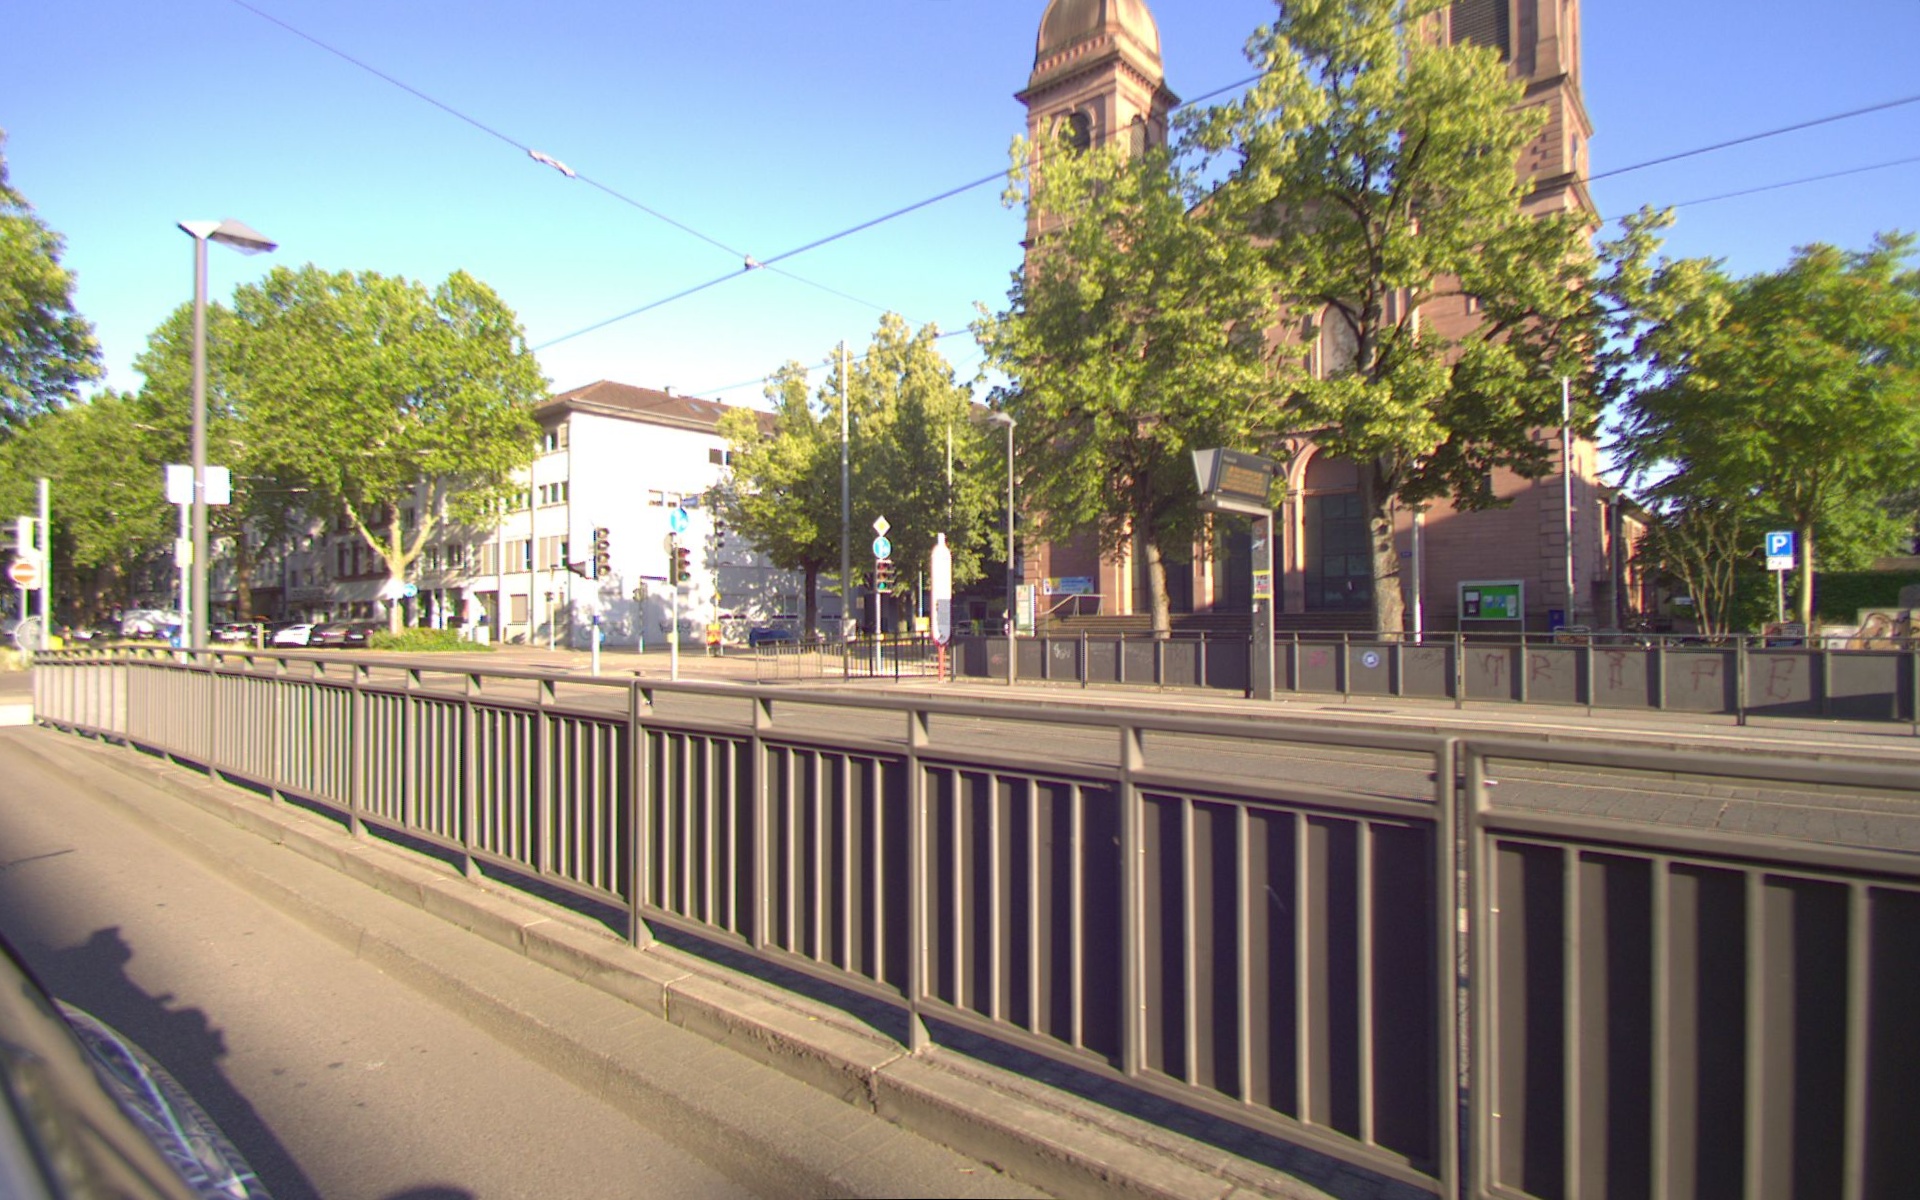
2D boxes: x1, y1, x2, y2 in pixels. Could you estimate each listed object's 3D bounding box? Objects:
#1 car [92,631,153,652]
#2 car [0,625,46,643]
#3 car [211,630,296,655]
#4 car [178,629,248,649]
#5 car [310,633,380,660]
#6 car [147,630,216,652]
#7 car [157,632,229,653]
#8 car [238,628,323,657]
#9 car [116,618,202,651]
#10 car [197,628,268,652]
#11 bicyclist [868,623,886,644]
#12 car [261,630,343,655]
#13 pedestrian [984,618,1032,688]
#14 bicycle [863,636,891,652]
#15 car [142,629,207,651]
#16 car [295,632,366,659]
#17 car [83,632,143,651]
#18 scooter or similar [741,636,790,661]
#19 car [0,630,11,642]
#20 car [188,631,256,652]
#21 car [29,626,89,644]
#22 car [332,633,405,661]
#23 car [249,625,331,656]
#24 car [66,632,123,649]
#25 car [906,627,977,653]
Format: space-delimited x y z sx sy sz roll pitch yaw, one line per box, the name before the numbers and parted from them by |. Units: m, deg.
car | -77.764 3.849 94.057 1.980 1.830 3.982 -1 -2 13
car | -123.578 4.464 133.268 2.071 2.230 4.943 0 -2 -2
car | -45.578 2.733 65.382 1.634 1.569 4.221 -1 -2 25
car | -55.715 2.876 75.586 1.883 1.468 4.251 0 -2 5
car | -34.604 2.595 57.059 1.717 1.443 3.972 -2 -2 -2
car | -61.525 3.222 80.039 1.980 1.630 3.982 -1 -2 13
car | -59.100 3.253 78.063 1.985 1.530 3.973 -1 -2 20
car | -41.775 2.583 62.303 2.126 1.697 4.250 0 -2 6
car | -68.298 2.915 86.415 2.161 2.721 5.583 -1 -2 16
car | -50.922 2.768 70.933 1.881 1.626 4.257 0 -2 0
bicyclist | -5.356 2.188 65.474 0.632 1.341 0.956 -2 -2 41
car | -39.071 2.514 60.241 2.123 1.388 4.257 0 -2 0
pedestrian | 1.275 1.382 26.858 0.832 1.773 0.909 -2 0 42
bicycle | -5.366 2.854 65.435 0.632 0.988 1.962 -2 -2 41
car | -65.948 3.327 85.062 1.980 1.830 3.982 -1 -2 13
car | -36.733 2.656 59.207 1.805 1.516 3.972 0 -2 -2
car | -80.355 3.926 96.056 1.980 1.830 3.982 -1 -2 13
scooter or similar | -9.646 2.394 50.172 2.447 1.135 1.082 -5 -4 41
car | -141.831 5.274 148.302 3.937 1.827 1.876 1 -2 -40
car | -53.381 3.014 73.266 1.582 1.470 4.251 0 -2 4
car | -90.269 3.497 101.426 1.996 1.719 4.184 -2 -2 36
car | -31.947 2.518 54.804 1.747 1.443 3.972 0 -2 -2
car | -43.357 2.606 65.582 1.508 1.958 4.221 -1 -2 25
car | -86.418 4.021 101.087 1.980 1.719 3.982 -1 -2 13
car | -1.119 2.354 59.392 3.998 1.409 1.792 -3 -3 41
